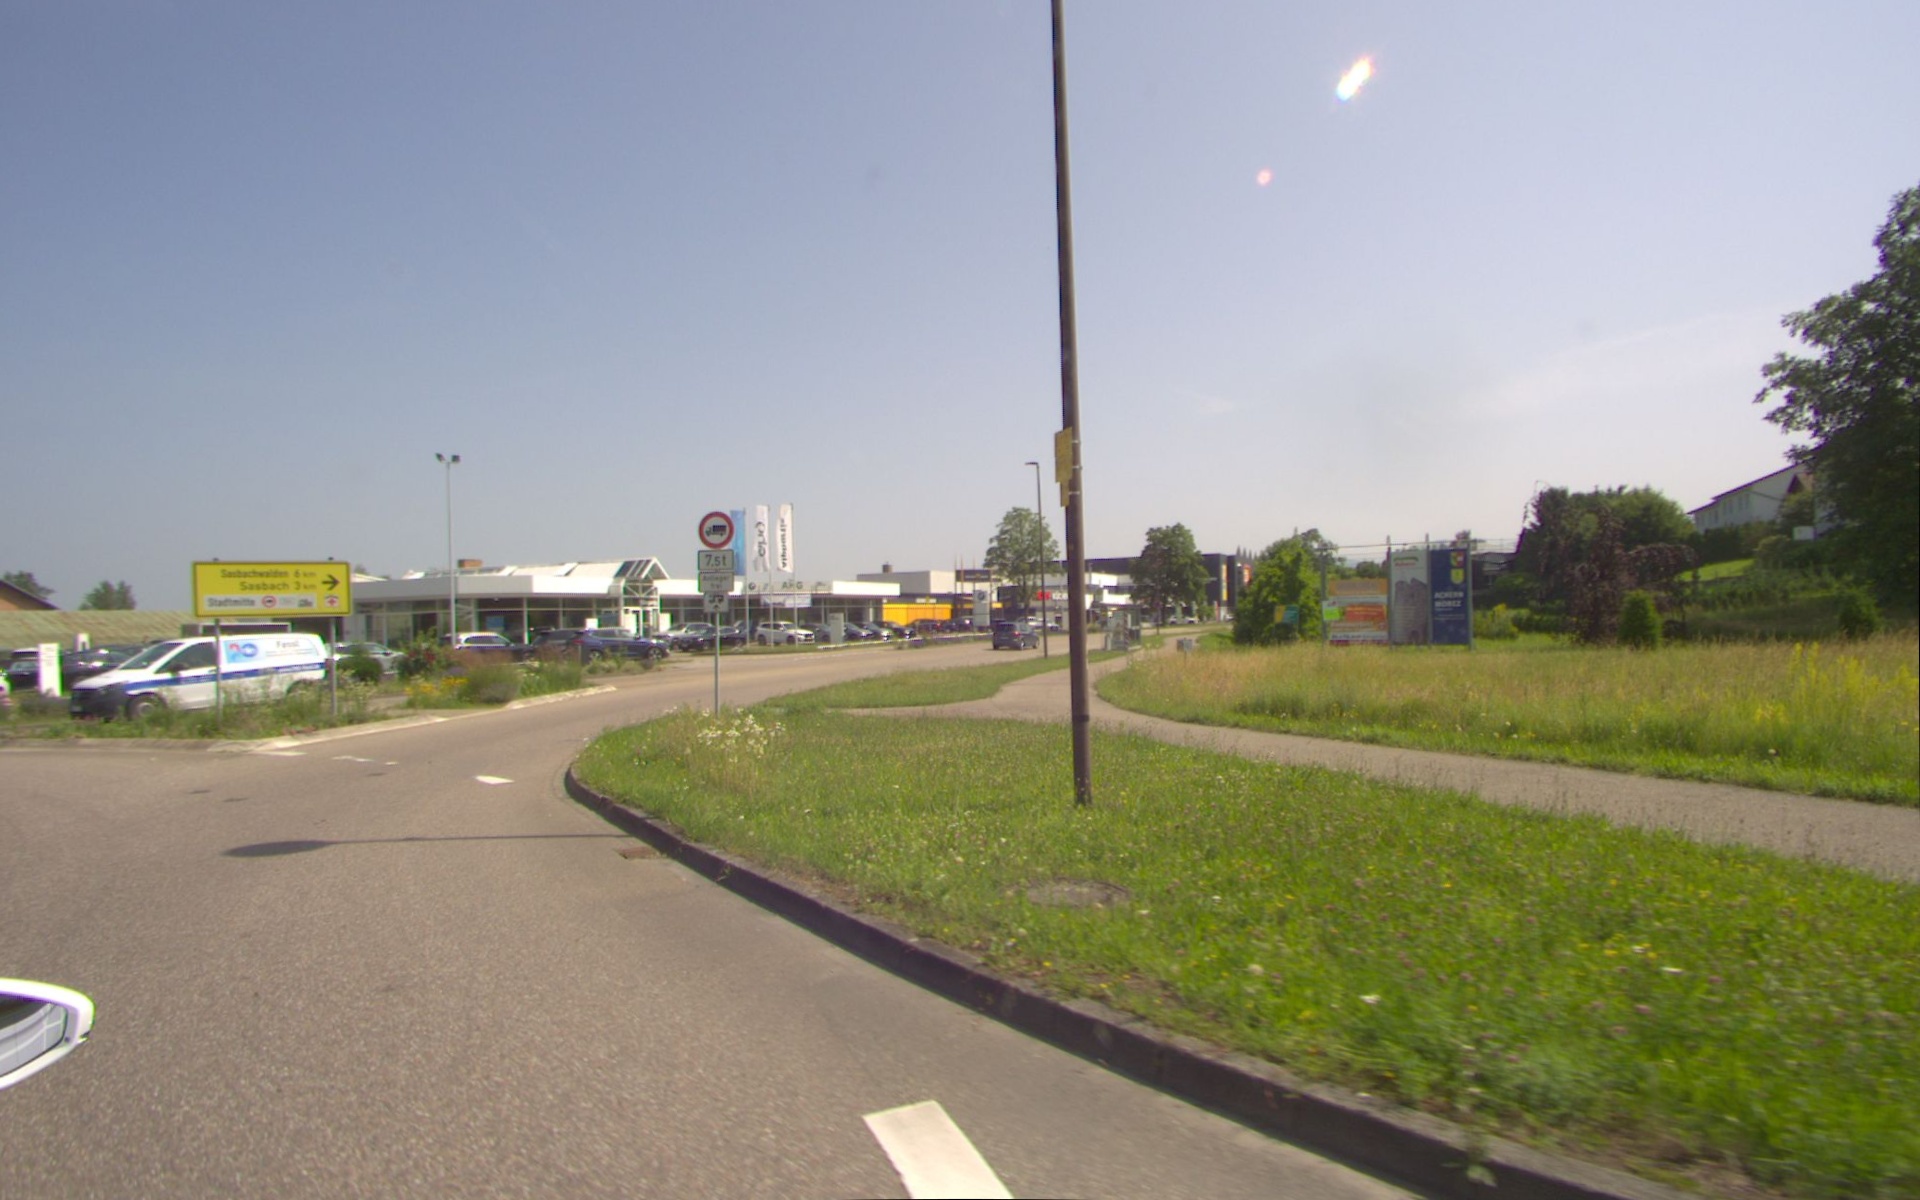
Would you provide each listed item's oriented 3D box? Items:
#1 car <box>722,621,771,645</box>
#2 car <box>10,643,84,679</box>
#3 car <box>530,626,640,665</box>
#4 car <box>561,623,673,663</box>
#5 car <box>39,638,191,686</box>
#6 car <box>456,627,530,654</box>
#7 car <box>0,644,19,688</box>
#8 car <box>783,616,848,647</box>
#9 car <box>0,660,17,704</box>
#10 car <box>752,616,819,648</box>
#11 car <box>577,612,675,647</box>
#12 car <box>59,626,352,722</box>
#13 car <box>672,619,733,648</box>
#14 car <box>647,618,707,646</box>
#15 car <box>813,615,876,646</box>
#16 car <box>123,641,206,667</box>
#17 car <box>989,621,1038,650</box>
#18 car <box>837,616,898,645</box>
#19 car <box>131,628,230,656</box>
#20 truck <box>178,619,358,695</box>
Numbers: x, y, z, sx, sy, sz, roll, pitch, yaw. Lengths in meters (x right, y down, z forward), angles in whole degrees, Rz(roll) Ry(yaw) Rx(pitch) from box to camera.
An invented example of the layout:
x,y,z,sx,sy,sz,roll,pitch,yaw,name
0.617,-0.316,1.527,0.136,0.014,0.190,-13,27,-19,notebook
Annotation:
x,y,z,sx,sy,sz,roll,pitch,yaw,name
-15.818,2.418,74.278,1.557,1.675,3.685,-4,-3,27,car
-45.451,2.991,49.955,1.632,1.607,4.250,-2,0,-27,car
-17.074,2.061,45.655,4.317,1.532,1.898,-2,0,-34,car
-15.120,1.883,44.259,4.317,1.532,1.898,-2,0,-34,car
-35.287,2.552,41.953,1.918,1.520,4.410,-3,1,24,car
-30.652,2.639,65.794,1.881,1.607,4.022,-2,0,29,car
-41.354,2.835,40.749,1.918,1.774,3.995,-2,1,24,car
-10.420,2.265,72.027,4.197,2.039,1.992,-4,-2,28,car
-36.607,3.161,36.118,1.736,1.592,4.656,-2,2,-15,car
-12.048,2.212,69.128,4.197,2.039,1.992,-4,-2,28,car
-16.790,1.465,50.409,4.317,1.532,1.898,-2,0,-34,car
-17.546,1.651,23.624,1.834,1.962,5.208,-4,-3,29,car
-15.882,2.032,61.856,1.557,1.675,3.685,-4,-3,27,car
-17.974,2.043,63.703,1.557,1.675,3.685,-4,-3,27,car
-8.617,2.289,74.448,4.197,2.039,1.992,-4,-2,28,car
-44.555,3.017,56.152,3.278,1.292,1.658,-2,0,-2,car
3.146,2.015,58.144,1.743,1.503,4.033,-2,0,19,car
-7.149,2.344,77.193,4.197,2.039,1.992,-4,-2,28,car
-48.396,2.587,62.272,1.920,1.542,4.448,-2,-1,28,car
-27.535,2.197,40.114,1.920,2.700,5.601,-2,0,29,truck
